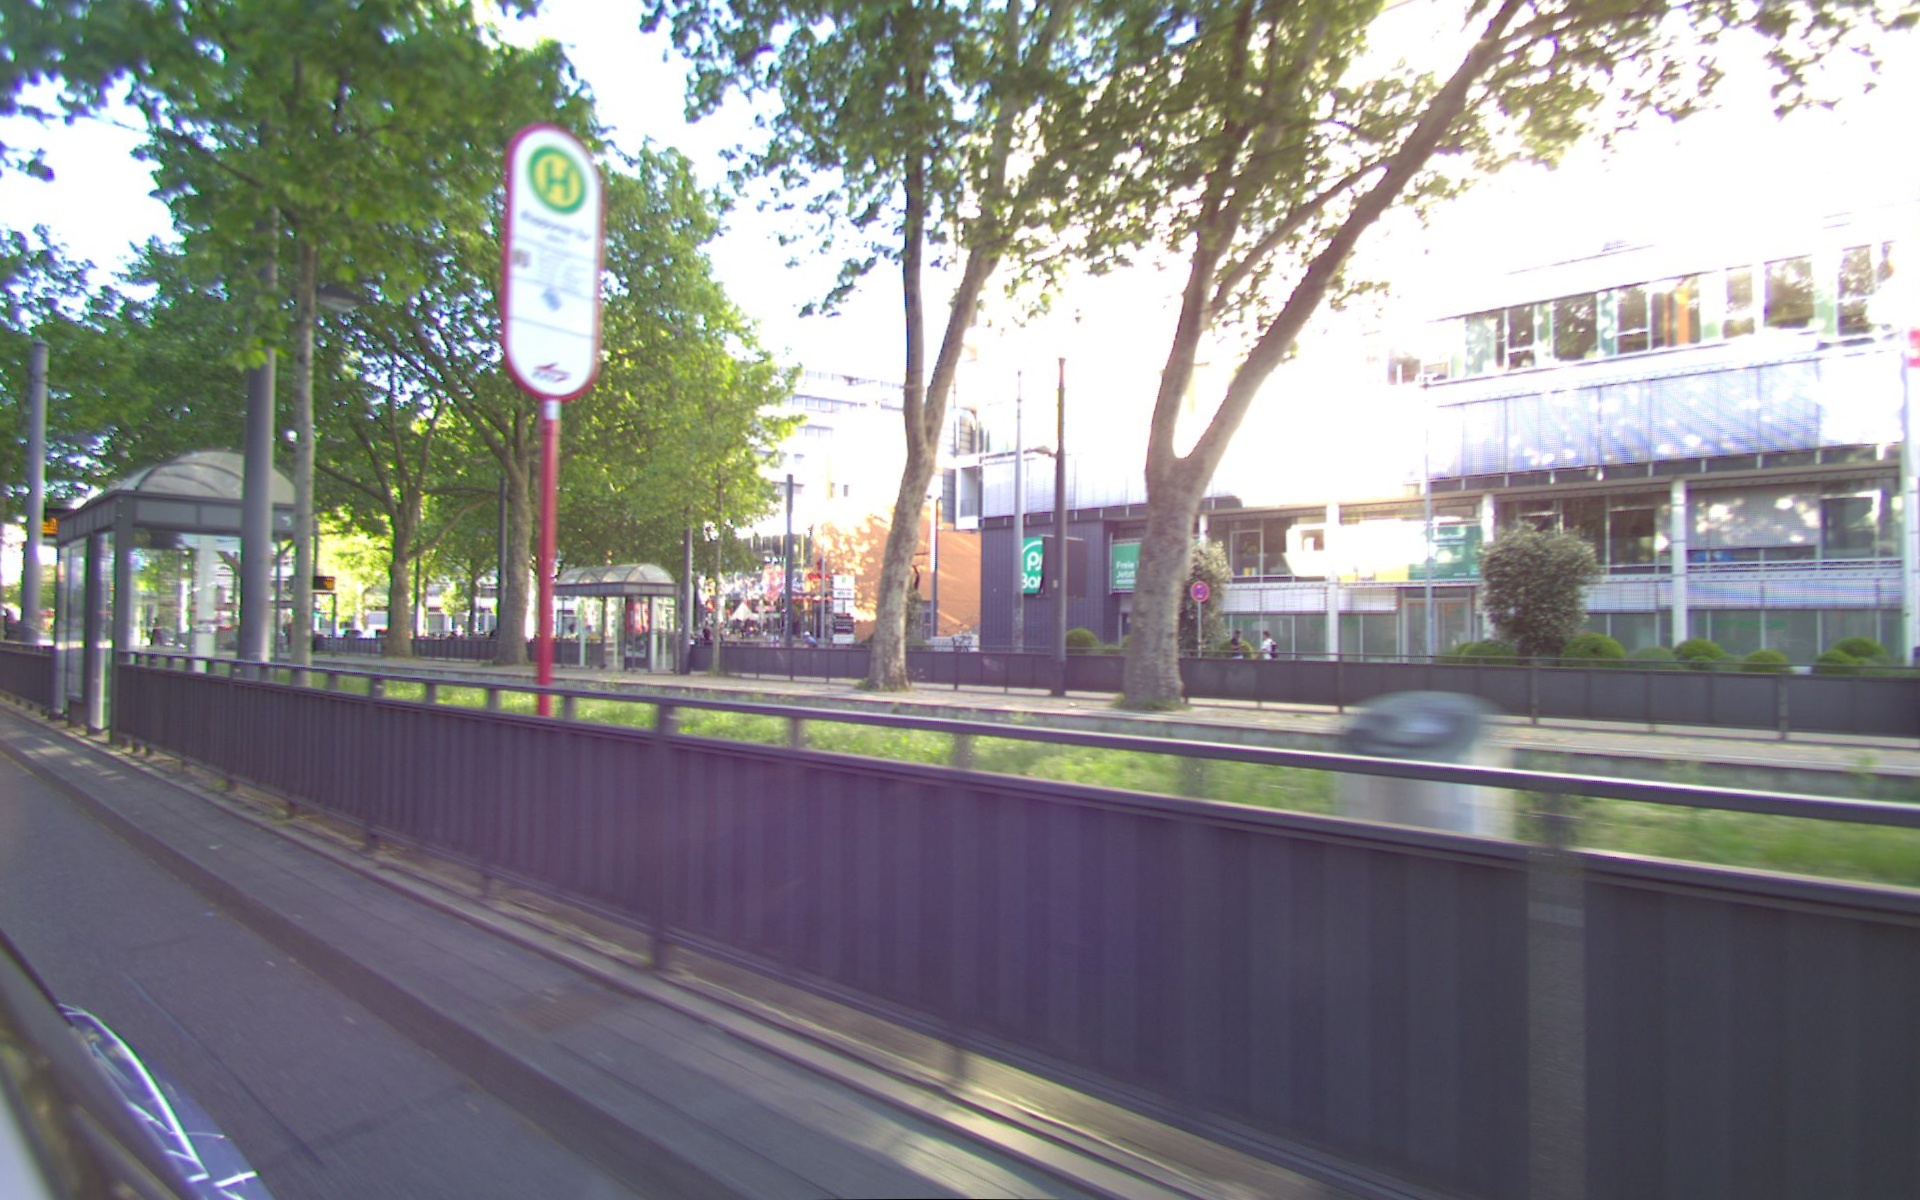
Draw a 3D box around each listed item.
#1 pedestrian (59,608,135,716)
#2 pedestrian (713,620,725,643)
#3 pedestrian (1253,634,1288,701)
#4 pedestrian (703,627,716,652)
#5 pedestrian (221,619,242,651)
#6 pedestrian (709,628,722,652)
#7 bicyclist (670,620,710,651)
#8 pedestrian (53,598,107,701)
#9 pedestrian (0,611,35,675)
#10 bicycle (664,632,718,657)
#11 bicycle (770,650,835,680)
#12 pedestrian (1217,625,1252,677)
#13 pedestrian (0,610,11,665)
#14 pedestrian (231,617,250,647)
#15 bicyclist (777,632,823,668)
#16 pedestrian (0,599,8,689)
[{"bbox_3d":[-11.103,0.781,13.021,0.801,1.329,0.620,-1,-2,41],"label":"pedestrian"},{"bbox_3d":[-17.193,2.242,72.251,0.597,1.616,0.572,-1,-2,40],"label":"pedestrian"},{"bbox_3d":[9.416,2.037,30.715,0.833,1.991,0.599,-2,-1,38],"label":"pedestrian"},{"bbox_3d":[-16.379,2.574,66.191,0.571,1.616,0.580,2,-2,-44],"label":"pedestrian"},{"bbox_3d":[-38.163,1.819,53.011,0.666,1.654,0.662,0,-2,29],"label":"pedestrian"},{"bbox_3d":[-16.132,2.632,66.751,0.571,1.616,0.598,2,-2,-44],"label":"pedestrian"},{"bbox_3d":[-11.236,1.484,42.050,1.372,1.259,0.994,-2,-1,38],"label":"bicyclist"},{"bbox_3d":[-16.572,0.918,19.058,0.753,1.886,0.638,-1,-2,41],"label":"pedestrian"},{"bbox_3d":[-25.678,1.153,27.504,0.863,1.715,0.721,-1,-2,43],"label":"pedestrian"},{"bbox_3d":[-11.164,1.834,42.011,2.582,1.004,0.792,-2,-1,39],"label":"bicycle"},{"bbox_3d":[-5.764,2.345,36.984,2.582,1.004,0.792,-2,-1,39],"label":"bicycle"},{"bbox_3d":[8.740,1.610,32.187,0.767,1.604,0.896,-1,-3,40],"label":"pedestrian"},{"bbox_3d":[-32.989,1.282,34.648,0.638,1.853,0.640,-1,-2,40],"label":"pedestrian"},{"bbox_3d":[-36.404,1.598,51.201,0.549,1.509,0.549,-1,-2,29],"label":"pedestrian"},{"bbox_3d":[-5.867,1.831,37.054,1.372,1.259,0.994,-2,-1,38],"label":"bicyclist"},{"bbox_3d":[-20.598,0.927,21.354,0.661,1.901,0.639,-1,-3,41],"label":"pedestrian"}]
